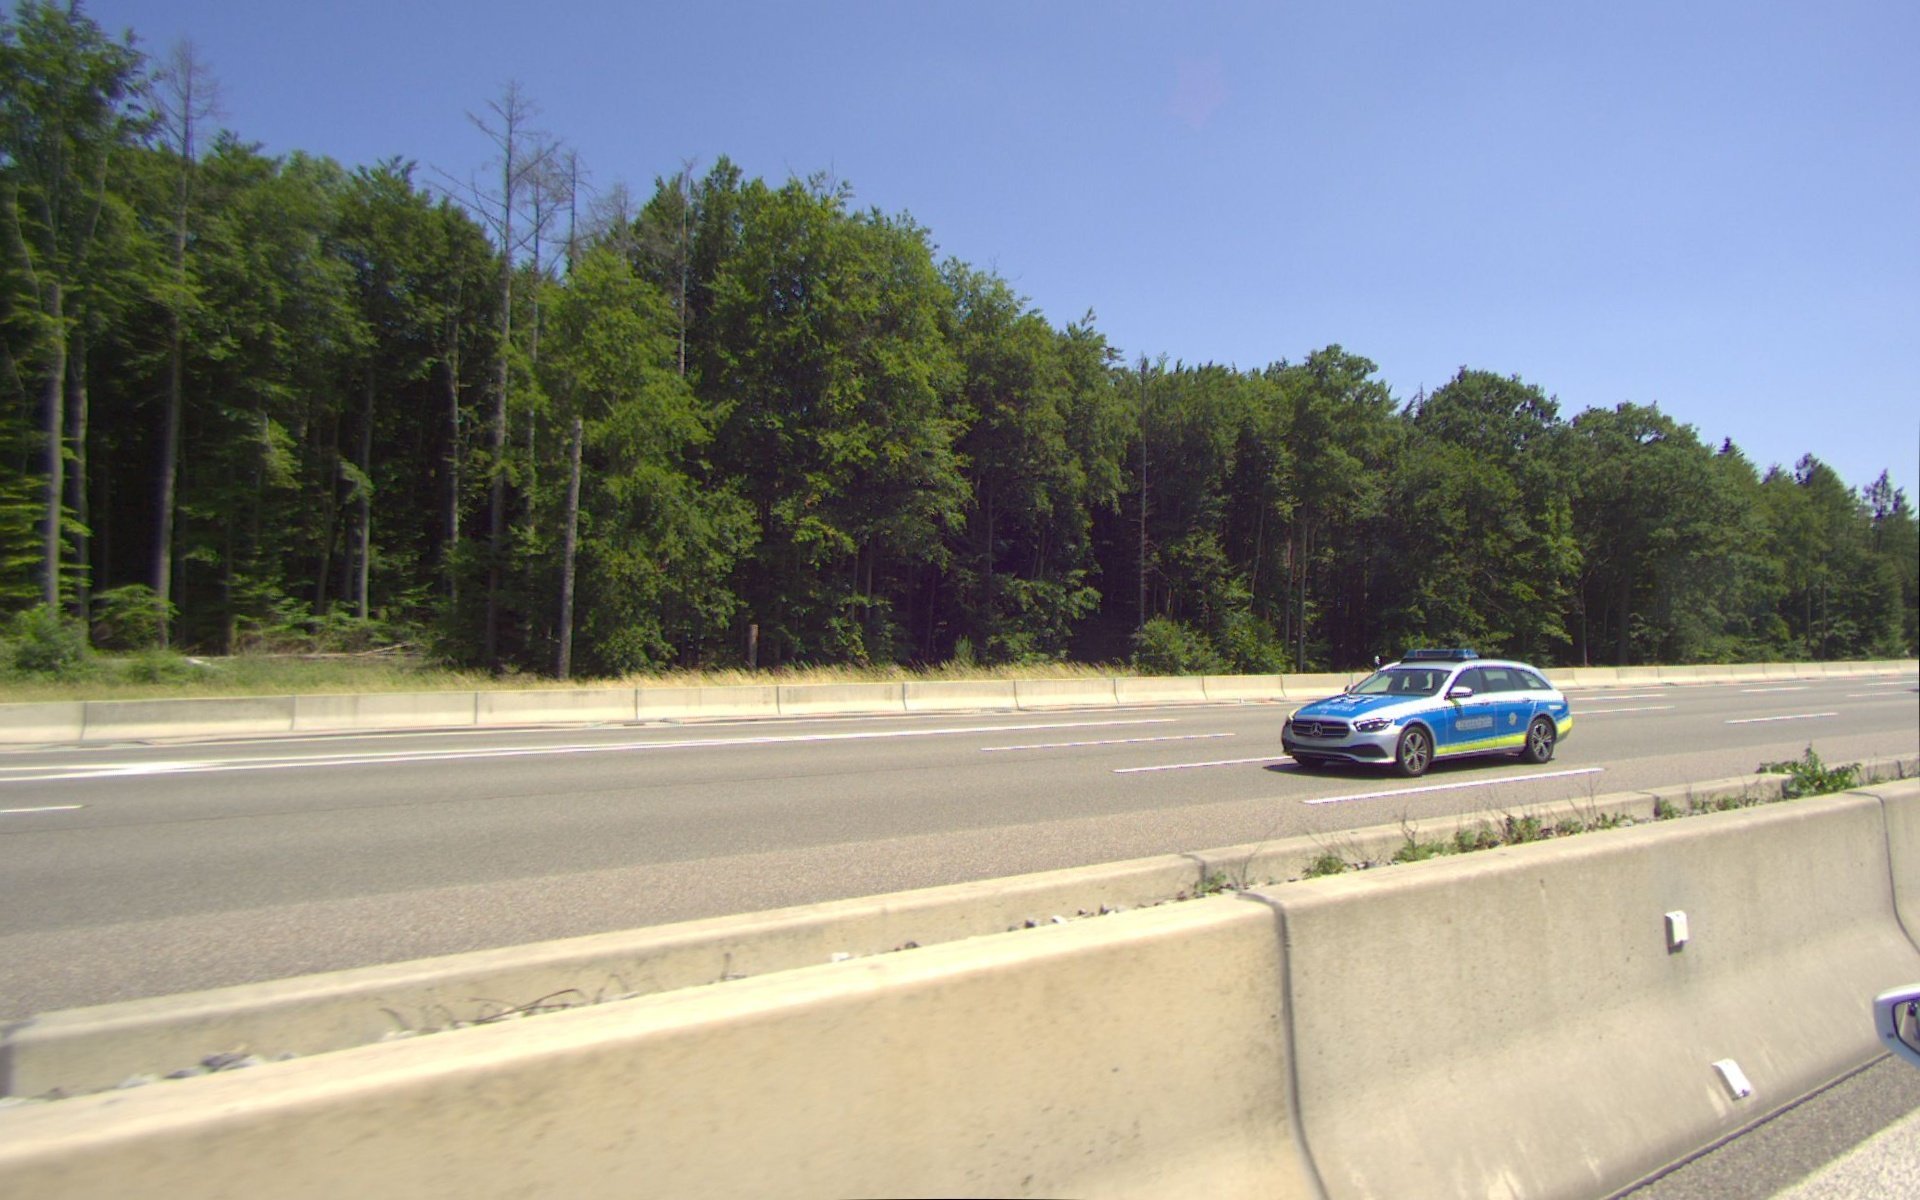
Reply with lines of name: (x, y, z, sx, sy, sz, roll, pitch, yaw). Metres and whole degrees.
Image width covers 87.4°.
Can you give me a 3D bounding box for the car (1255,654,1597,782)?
car: (6.854, 1.584, 14.618, 5.171, 1.532, 1.904, 1, -3, -30)
